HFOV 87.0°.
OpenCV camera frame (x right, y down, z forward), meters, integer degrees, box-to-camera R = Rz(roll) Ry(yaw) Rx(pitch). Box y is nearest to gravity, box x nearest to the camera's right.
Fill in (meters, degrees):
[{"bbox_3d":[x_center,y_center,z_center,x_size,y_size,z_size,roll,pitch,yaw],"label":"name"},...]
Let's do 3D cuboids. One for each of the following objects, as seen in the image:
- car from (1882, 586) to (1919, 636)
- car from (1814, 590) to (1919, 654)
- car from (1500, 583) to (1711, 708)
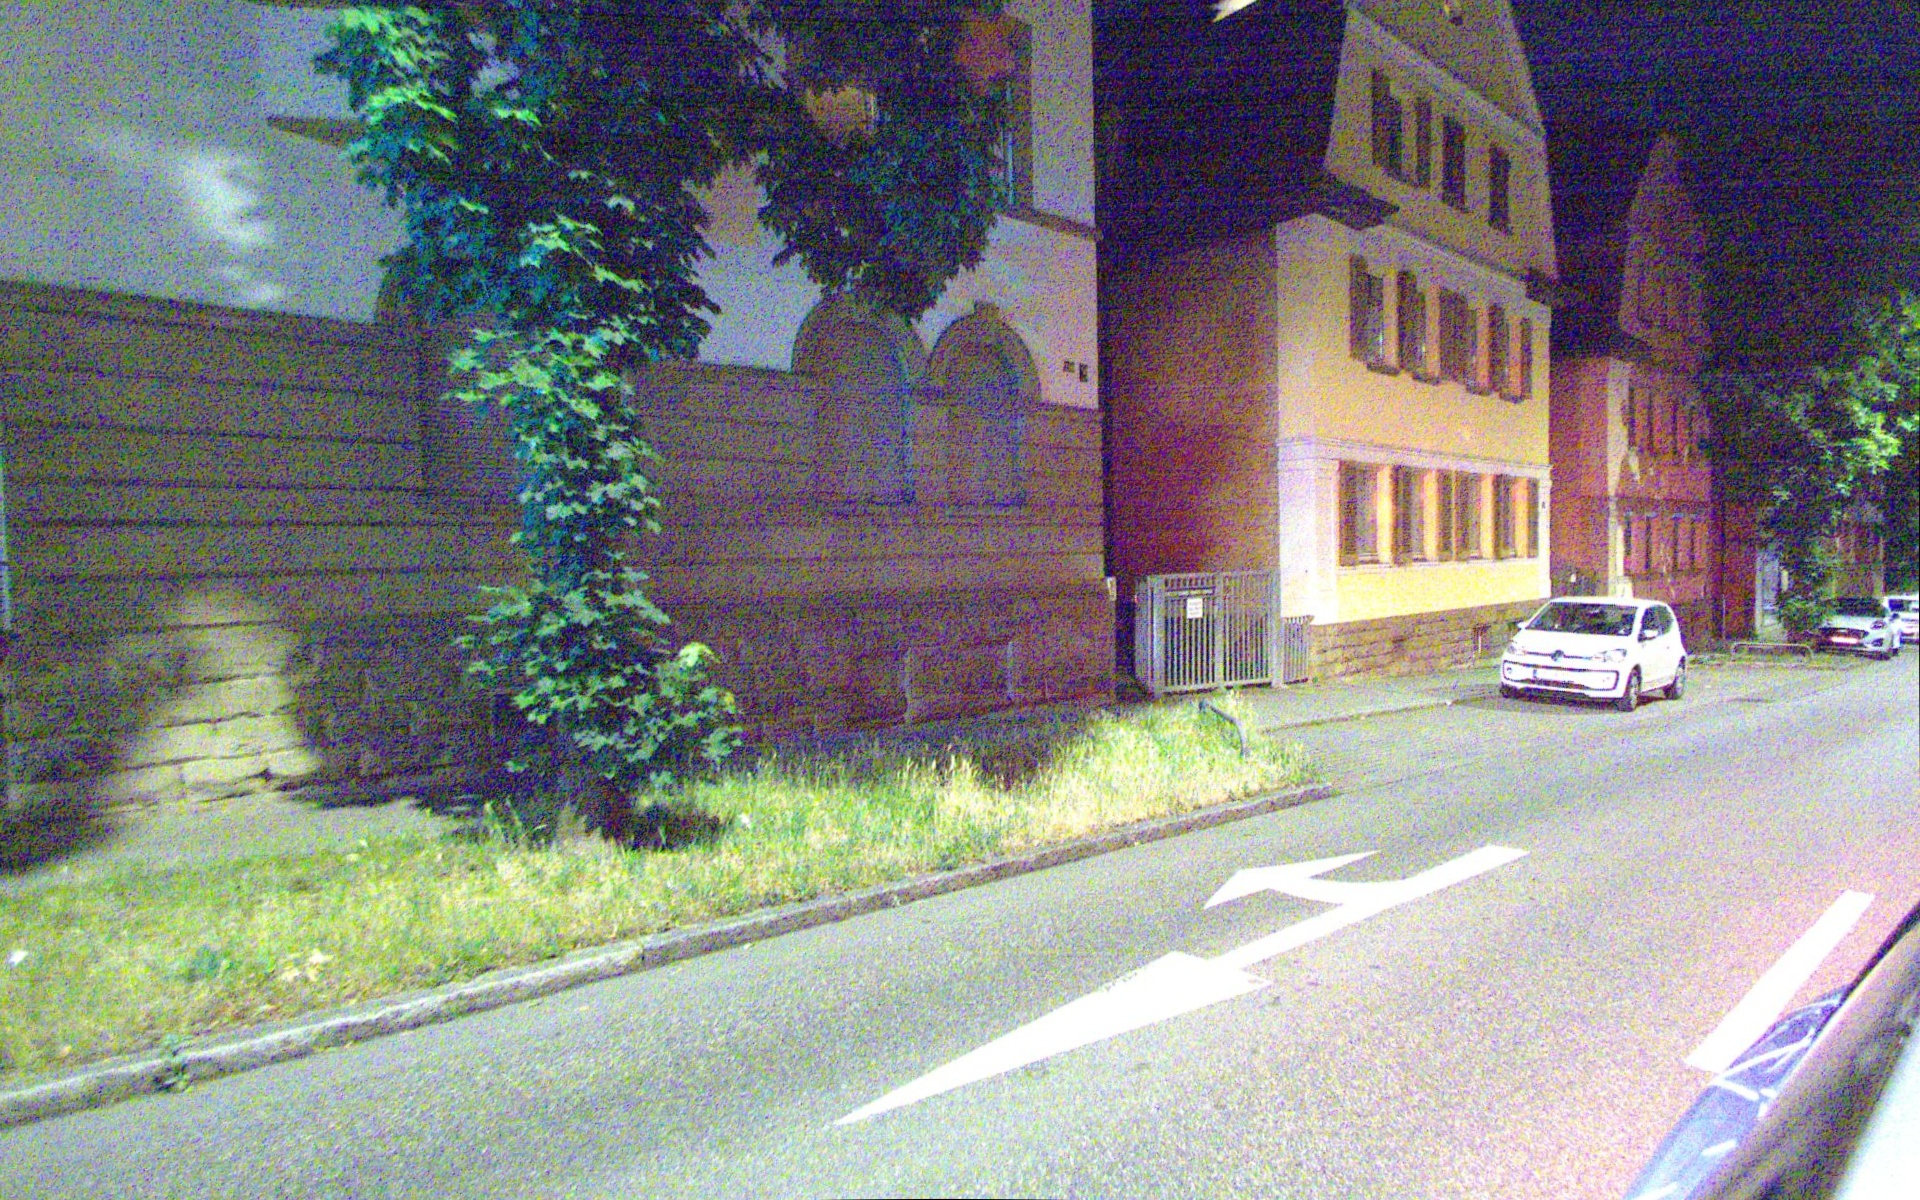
[{"bbox_3d":[33.549,0.373,35.140,4.107,1.673,1.850,0,0,-42],"label":"car"},{"bbox_3d":[23.625,0.513,26.282,3.824,1.516,1.740,0,2,-43],"label":"car"},{"bbox_3d":[9.293,0.561,14.495,3.425,1.527,1.610,0,2,-41],"label":"car"}]
